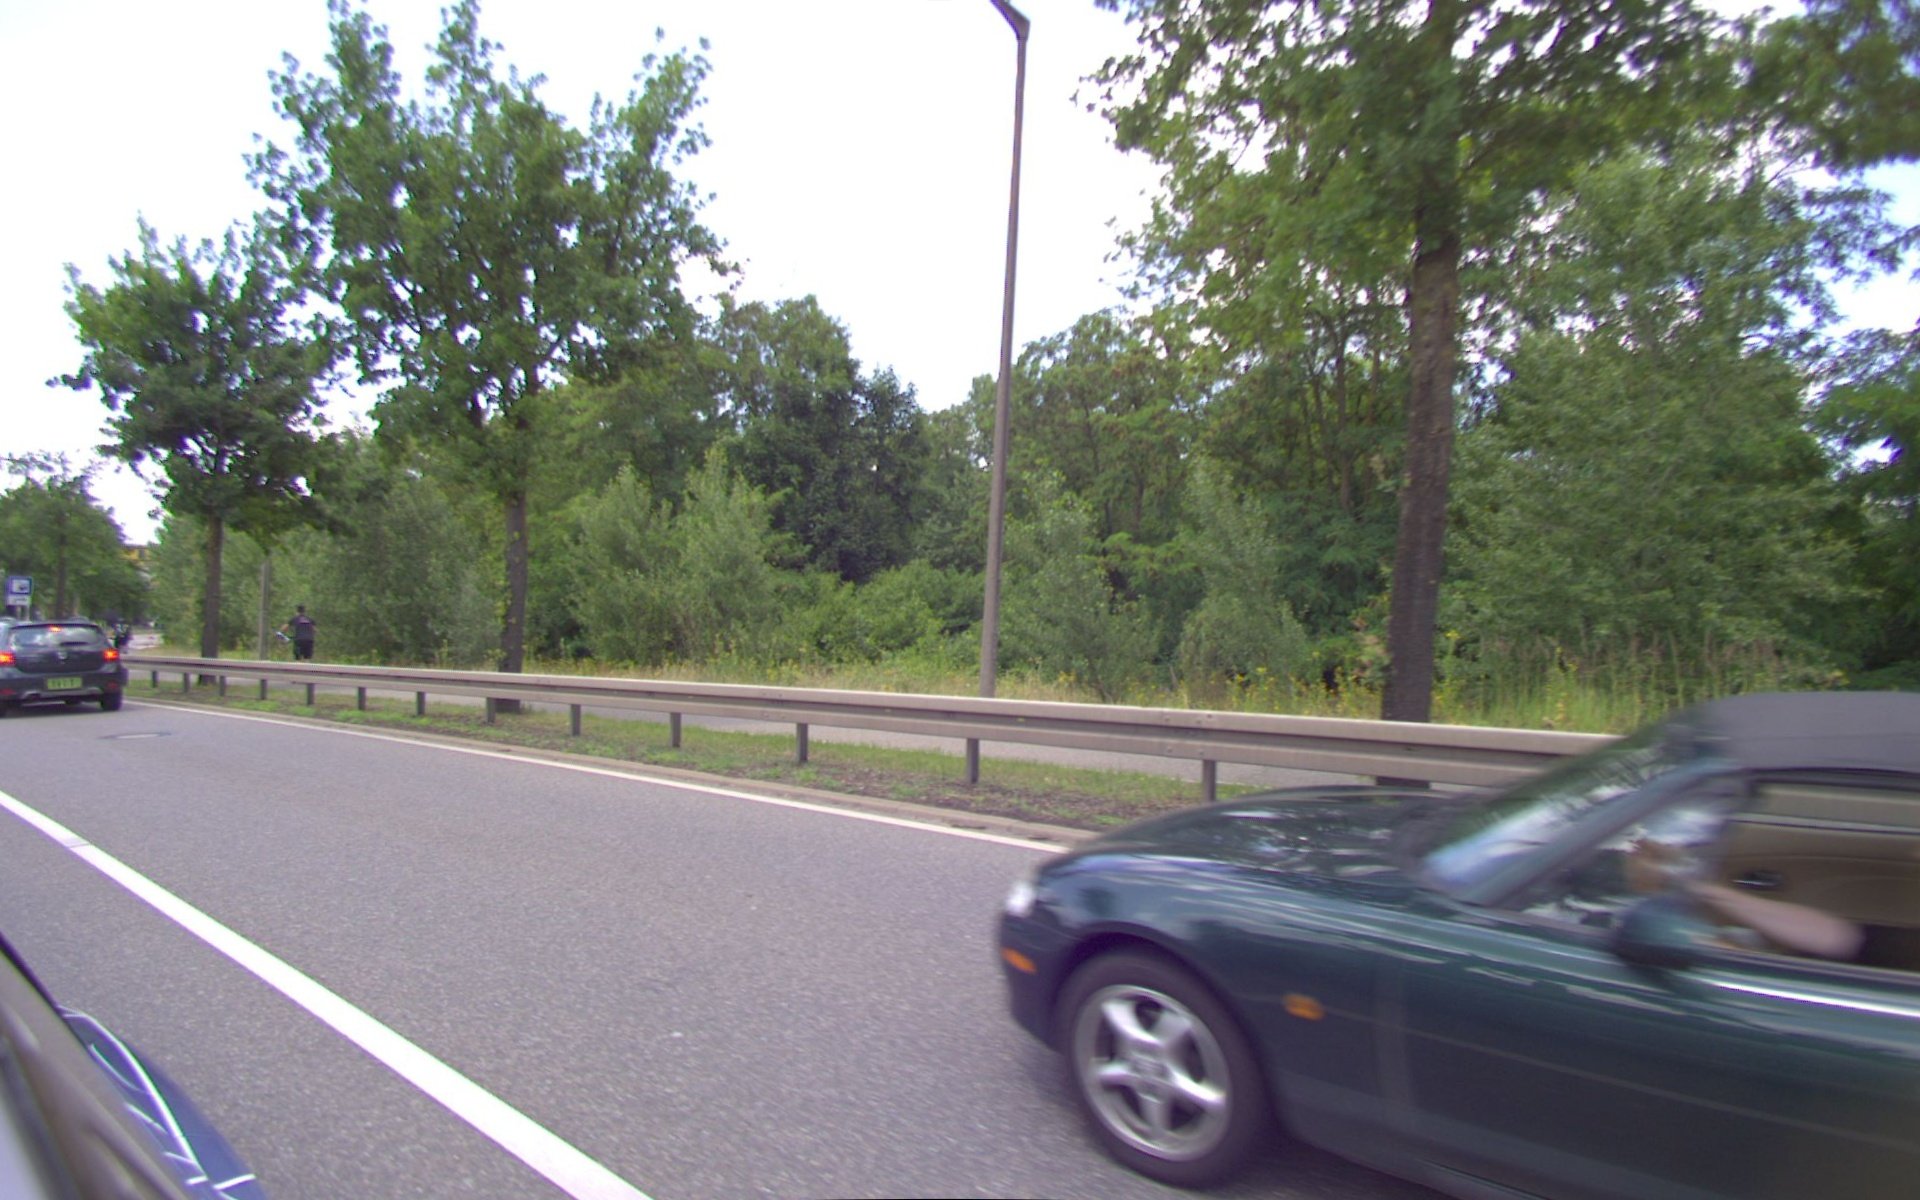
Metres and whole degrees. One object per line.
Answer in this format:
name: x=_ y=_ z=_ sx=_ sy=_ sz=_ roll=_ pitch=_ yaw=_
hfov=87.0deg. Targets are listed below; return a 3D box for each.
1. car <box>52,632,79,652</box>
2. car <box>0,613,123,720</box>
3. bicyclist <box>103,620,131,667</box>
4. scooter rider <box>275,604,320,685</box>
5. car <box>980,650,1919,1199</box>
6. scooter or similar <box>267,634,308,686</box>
car: x=-85.449 y=4.035 z=96.731 sx=1.752 sy=1.877 sz=4.131 roll=4 pitch=-4 yaw=-41
car: x=-15.905 y=1.067 z=17.293 sx=4.154 sy=1.619 sz=1.763 roll=-2 pitch=-1 yaw=40
bicyclist: x=-28.699 y=1.479 z=34.445 sx=0.879 sy=1.565 sz=0.480 roll=-1 pitch=-3 yaw=38
scooter rider: x=-15.583 y=1.050 z=23.817 sx=0.618 sy=1.870 sz=0.655 roll=-1 pitch=-3 yaw=37
car: x=2.015 y=0.775 z=2.125 sx=3.787 sy=1.227 sz=1.576 roll=-2 pitch=0 yaw=40
scooter or similar: x=-16.008 y=1.425 z=24.108 sx=0.558 sy=1.216 sz=0.629 roll=-2 pitch=-4 yaw=36
